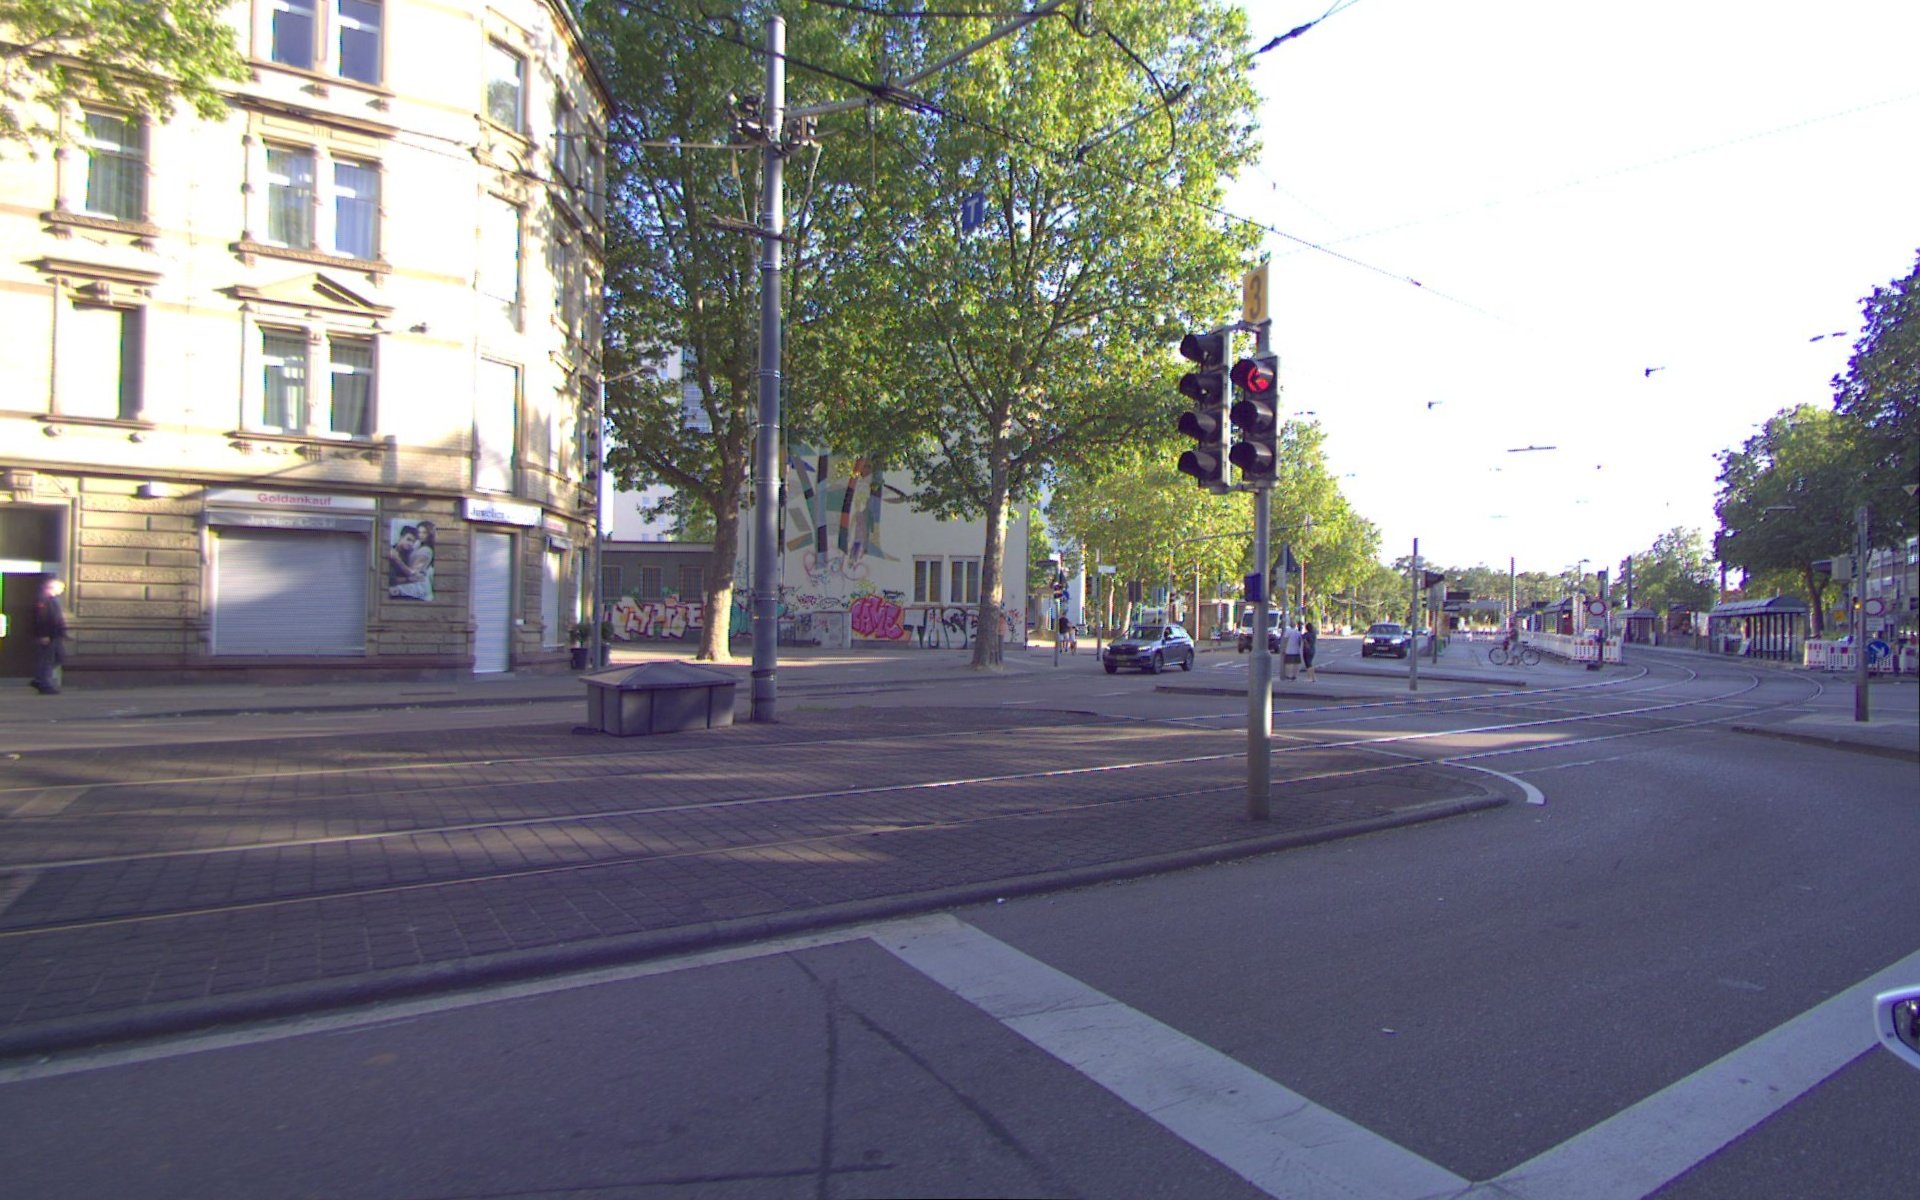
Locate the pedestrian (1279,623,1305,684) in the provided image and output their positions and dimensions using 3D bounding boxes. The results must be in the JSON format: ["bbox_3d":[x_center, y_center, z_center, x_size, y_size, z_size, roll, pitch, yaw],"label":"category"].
[{"bbox_3d":[8.556,1.368,25.886,0.513,1.524,0.592,0,-1,33],"label":"pedestrian"}]

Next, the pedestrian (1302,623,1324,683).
[{"bbox_3d":[9.120,1.359,25.960,0.402,1.524,0.516,0,-1,33],"label":"pedestrian"}]

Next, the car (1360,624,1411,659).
[{"bbox_3d":[20.514,1.963,48.293,1.858,1.606,4.201,0,-1,29],"label":"car"}]

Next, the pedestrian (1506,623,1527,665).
[{"bbox_3d":[23.068,1.817,41.639,0.709,1.748,0.399,0,-1,26],"label":"pedestrian"}]

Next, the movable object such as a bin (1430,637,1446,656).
[{"bbox_3d":[23.451,2.266,49.286,0.661,0.878,0.701,2,1,29],"label":"movable object such as a bin"}]

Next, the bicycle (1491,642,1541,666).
[{"bbox_3d":[23.261,2.239,42.045,1.812,0.955,0.463,0,-1,26],"label":"bicycle"}]

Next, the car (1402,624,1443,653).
[{"bbox_3d":[26.517,2.205,57.556,1.858,1.551,4.201,0,-1,29],"label":"car"}]

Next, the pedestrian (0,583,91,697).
[{"bbox_3d":[-14.959,0.650,16.420,0.957,1.811,0.617,1,1,-24],"label":"pedestrian"}]

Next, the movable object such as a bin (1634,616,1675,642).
[{"bbox_3d":[69.737,2.919,100.937,2.455,2.509,5.351,0,-1,25],"label":"movable object such as a bin"}]

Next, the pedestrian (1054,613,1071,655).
[{"bbox_3d":[4.362,1.447,42.816,0.663,1.733,0.432,2,1,9],"label":"pedestrian"}]

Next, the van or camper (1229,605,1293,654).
[{"bbox_3d":[15.658,1.521,52.104,2.135,2.350,5.096,0,-1,29],"label":"van or camper"}]

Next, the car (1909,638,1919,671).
[{"bbox_3d":[43.045,2.405,43.751,1.731,1.483,3.990,0,-1,33],"label":"car"}]

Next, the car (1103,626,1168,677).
[{"bbox_3d":[5.733,1.592,32.446,1.854,1.492,4.210,1,-1,13],"label":"car"}]
